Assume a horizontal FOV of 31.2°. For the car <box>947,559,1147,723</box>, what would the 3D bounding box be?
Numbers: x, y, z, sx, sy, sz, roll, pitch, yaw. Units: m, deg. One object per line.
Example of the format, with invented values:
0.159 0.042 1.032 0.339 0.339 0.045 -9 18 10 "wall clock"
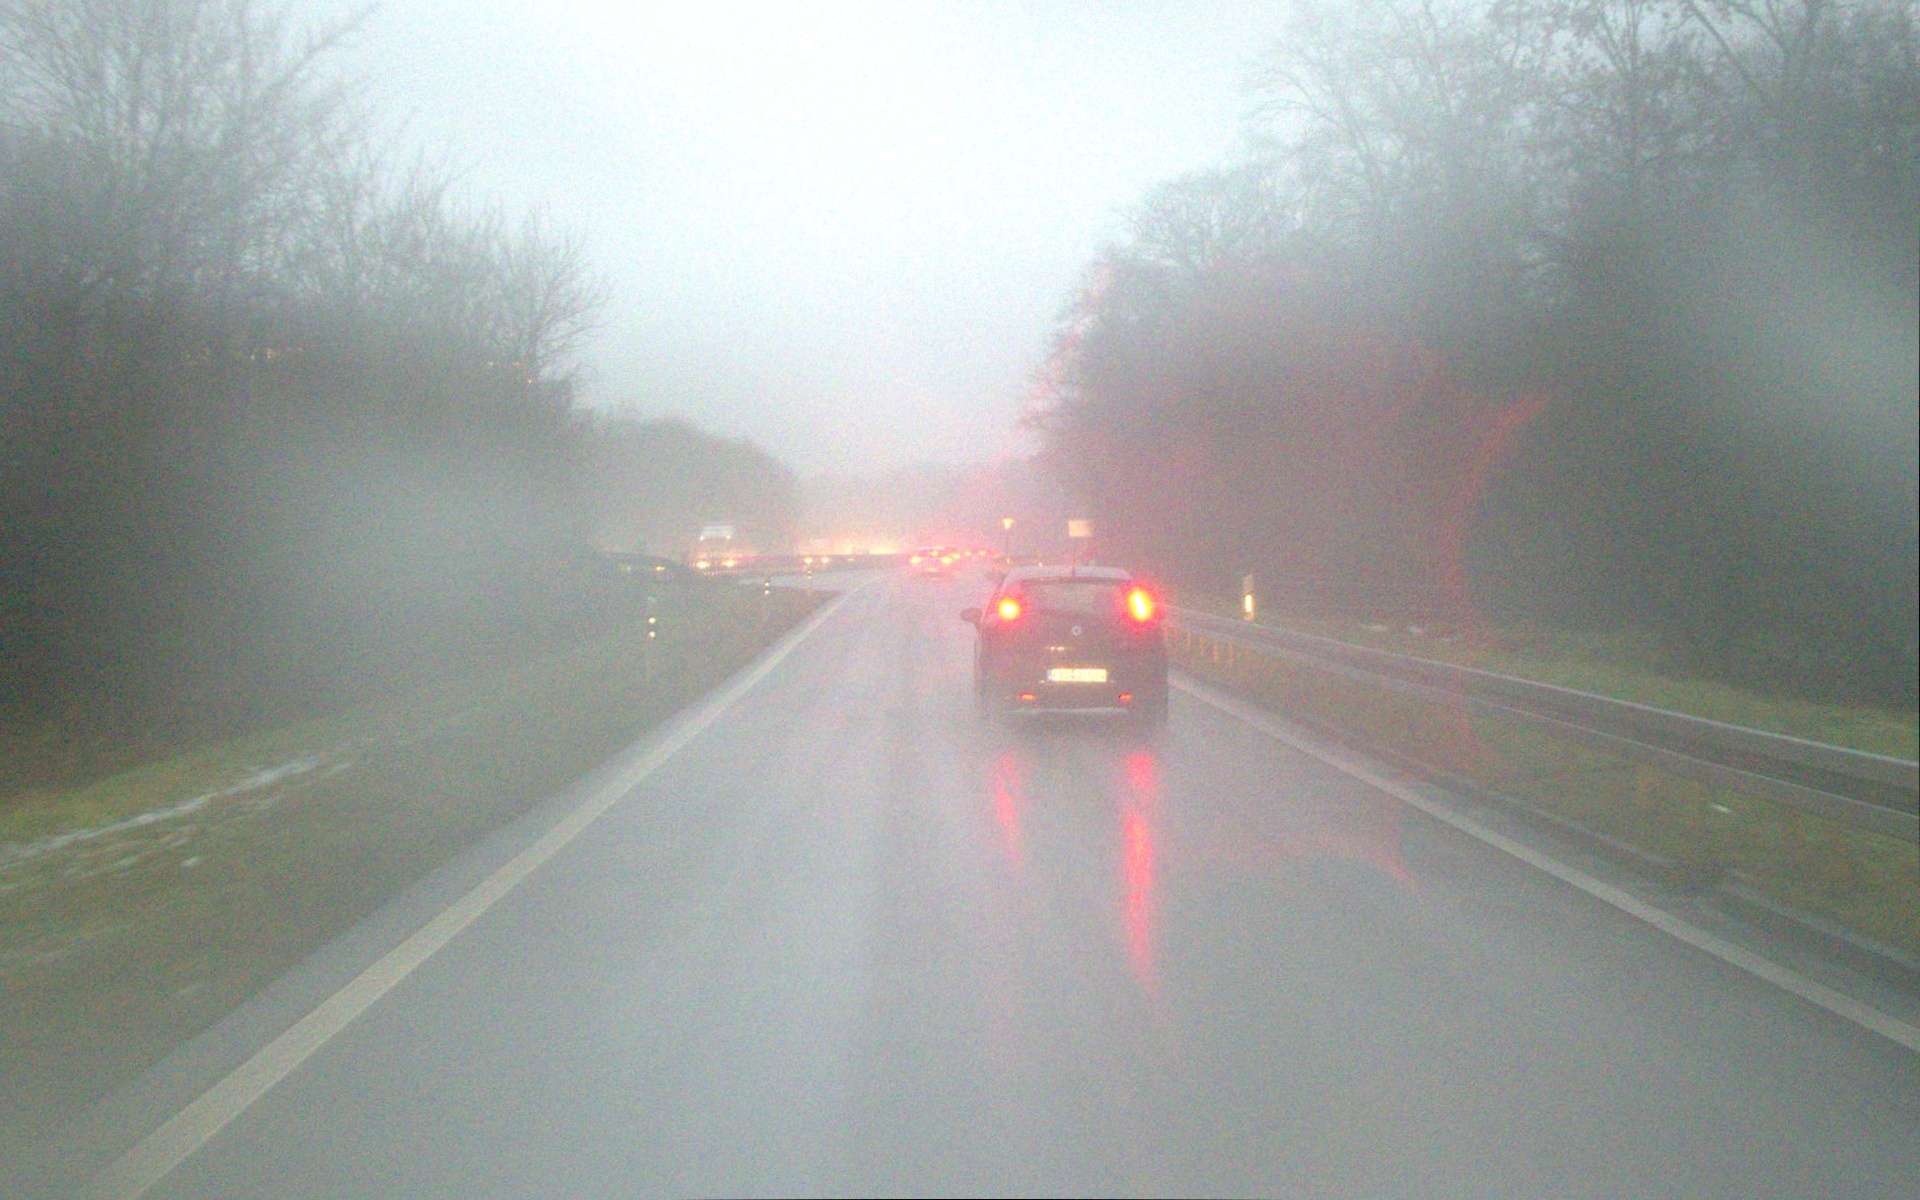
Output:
0.765 0.354 32.415 1.732 1.424 3.765 -1 0 0 "car"
